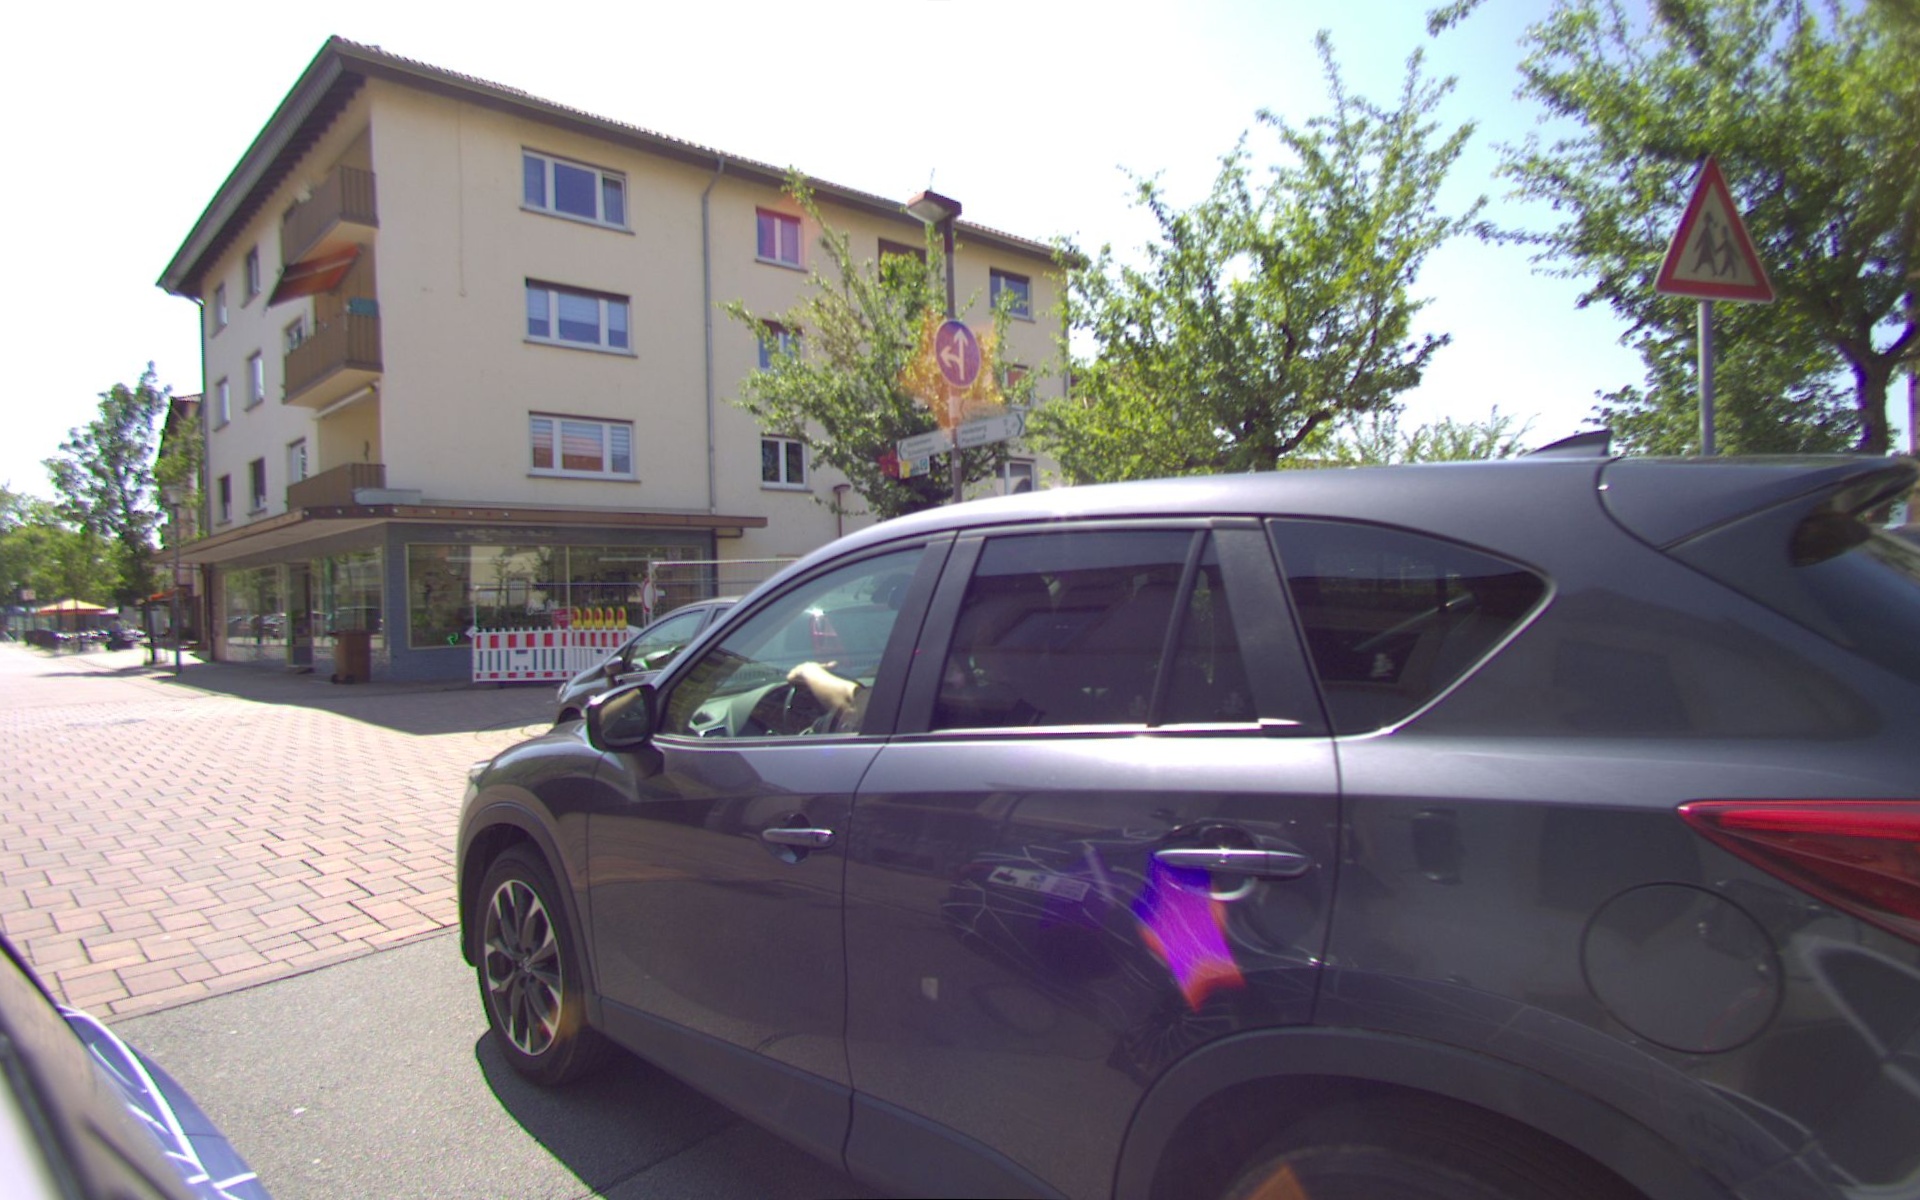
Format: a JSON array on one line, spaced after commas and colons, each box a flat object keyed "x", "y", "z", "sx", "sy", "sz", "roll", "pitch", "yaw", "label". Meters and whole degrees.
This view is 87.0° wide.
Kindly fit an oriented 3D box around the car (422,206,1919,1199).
[{"x": 0.343, "y": 0.526, "z": 2.634, "sx": 4.154, "sy": 1.681, "sz": 1.861, "roll": -2, "pitch": -1, "yaw": 44, "label": "car"}]

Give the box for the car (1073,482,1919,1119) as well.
[{"x": 2.571, "y": 0.514, "z": 3.702, "sx": 4.026, "sy": 1.617, "sz": 1.795, "roll": -2, "pitch": -1, "yaw": 45, "label": "car"}]

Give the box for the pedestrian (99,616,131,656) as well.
[{"x": -39.906, "y": 1.692, "z": 47.790, "sx": 0.748, "sy": 1.794, "sz": 0.871, "roll": -2, "pitch": 0, "yaw": -6, "label": "pedestrian"}]

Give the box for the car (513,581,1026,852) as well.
[{"x": -1.570, "y": 0.684, "z": 7.524, "sx": 3.854, "sy": 1.508, "sz": 1.685, "roll": -2, "pitch": -1, "yaw": 40, "label": "car"}]

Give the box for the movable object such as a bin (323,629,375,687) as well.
[{"x": -11.900, "y": 1.124, "z": 19.711, "sx": 0.663, "sy": 1.078, "sz": 0.649, "roll": -2, "pitch": 0, "yaw": 38, "label": "movable object such as a bin"}]
